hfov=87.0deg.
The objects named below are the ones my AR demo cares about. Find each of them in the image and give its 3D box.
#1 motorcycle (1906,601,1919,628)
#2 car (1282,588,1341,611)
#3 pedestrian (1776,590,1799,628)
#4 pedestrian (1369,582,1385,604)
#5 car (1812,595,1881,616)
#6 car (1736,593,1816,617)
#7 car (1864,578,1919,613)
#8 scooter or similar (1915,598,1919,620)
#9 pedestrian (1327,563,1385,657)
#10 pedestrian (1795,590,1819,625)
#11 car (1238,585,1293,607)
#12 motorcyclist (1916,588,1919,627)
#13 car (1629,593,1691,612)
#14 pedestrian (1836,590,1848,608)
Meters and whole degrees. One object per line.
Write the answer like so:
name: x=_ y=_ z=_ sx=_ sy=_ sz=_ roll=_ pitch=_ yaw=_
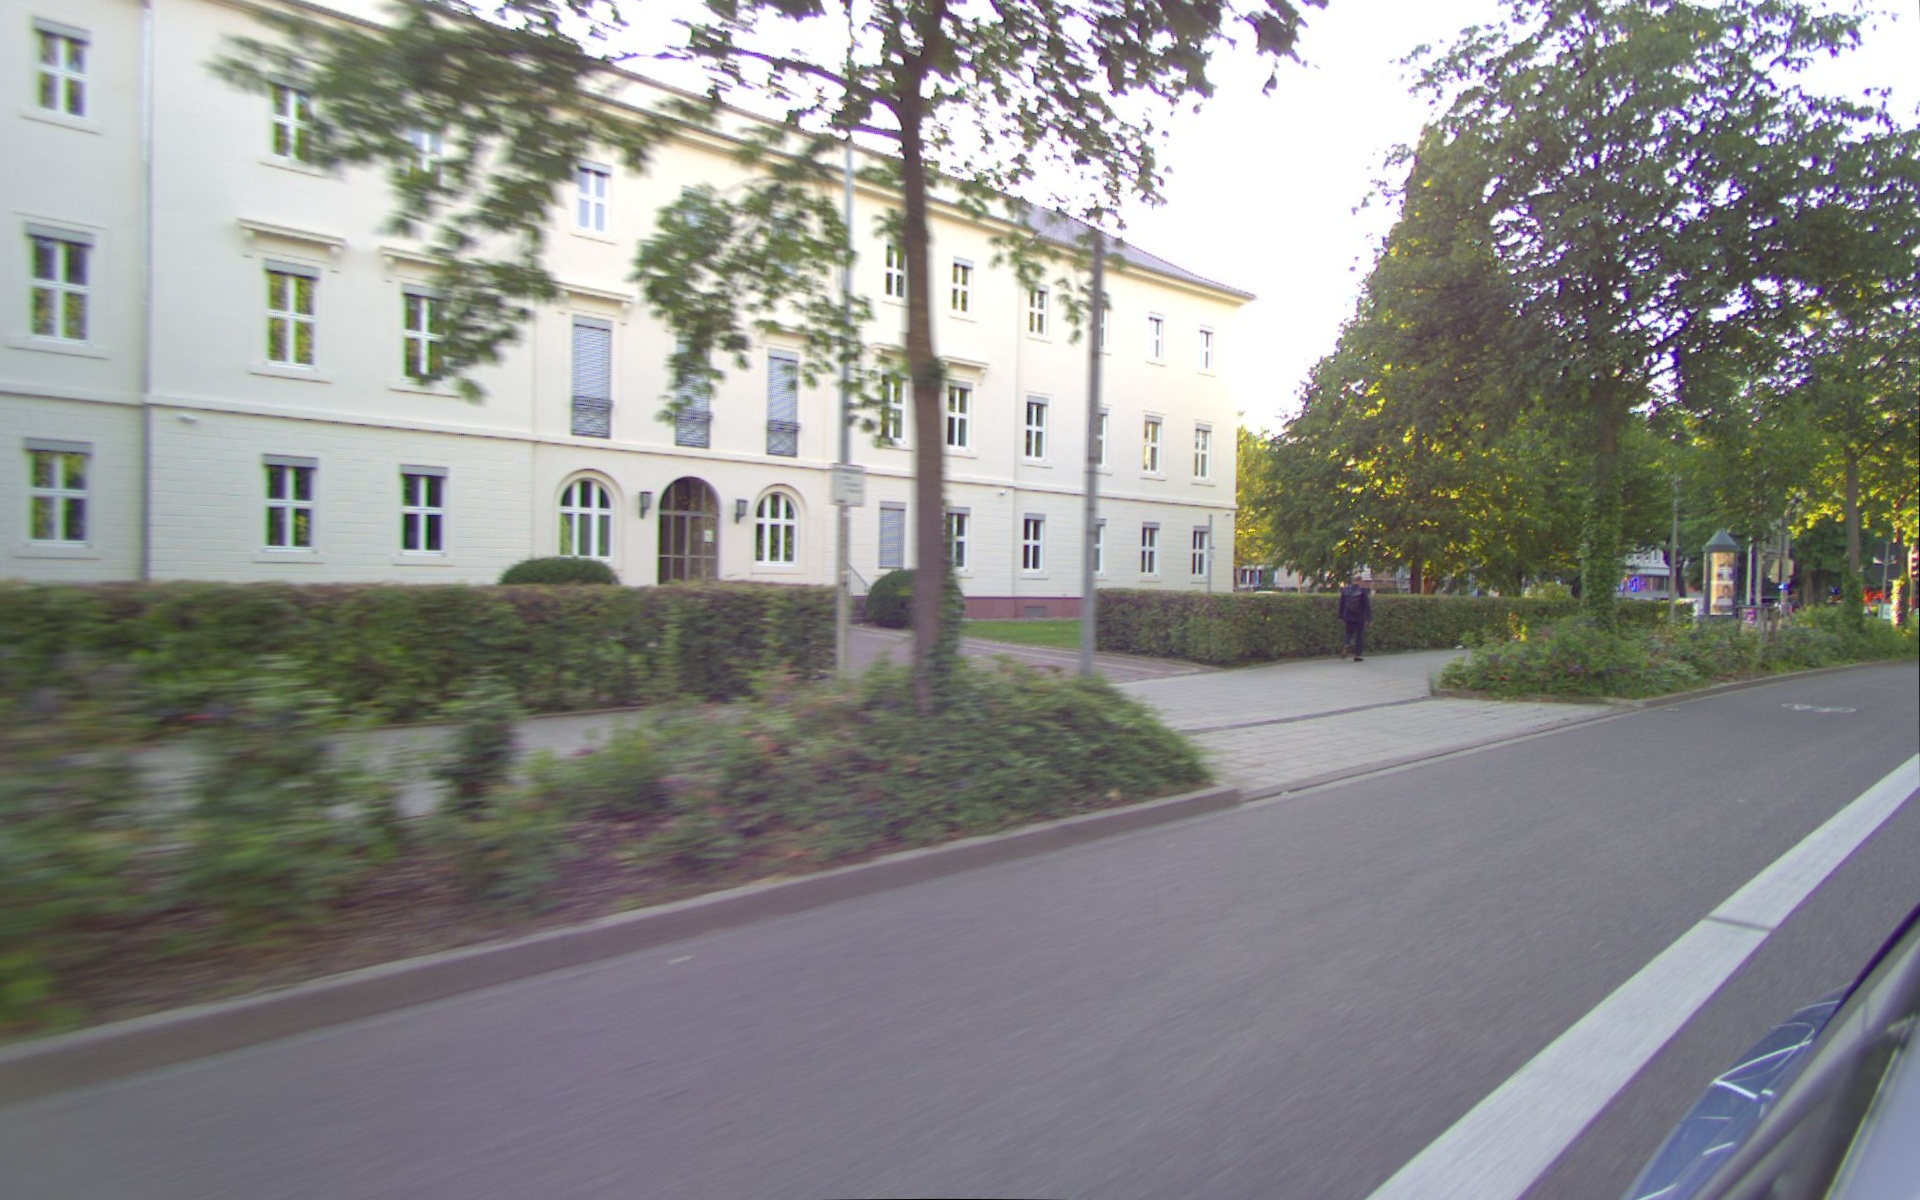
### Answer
motorcycle: x=44.534 y=0.668 z=46.424 sx=1.854 sy=1.213 sz=0.685 roll=1 pitch=0 yaw=-10
car: x=26.576 y=-0.027 z=76.535 sx=1.862 sy=1.660 sz=4.006 roll=0 pitch=1 yaw=-28
pedestrian: x=39.822 y=0.420 z=48.709 sx=0.675 sy=1.776 sz=0.683 roll=1 pitch=0 yaw=-35
pedestrian: x=34.233 y=-0.603 z=83.067 sx=0.690 sy=1.760 sz=0.898 roll=1 pitch=0 yaw=-27
car: x=68.656 y=0.422 z=78.408 sx=1.631 sy=1.477 sz=3.670 roll=0 pitch=1 yaw=-30
car: x=58.122 y=0.325 z=72.155 sx=1.880 sy=1.631 sz=4.006 roll=0 pitch=1 yaw=-28
car: x=91.885 y=-0.453 z=98.899 sx=8.129 sy=3.284 sz=2.777 roll=0 pitch=1 yaw=-29
scooter or similar: x=56.839 y=0.552 z=59.763 sx=1.157 sy=1.288 sz=0.442 roll=0 pitch=0 yaw=-36
pedestrian: x=7.636 y=0.180 z=19.496 sx=0.794 sy=1.760 sz=0.770 roll=0 pitch=0 yaw=-44
pedestrian: x=40.232 y=0.364 z=48.077 sx=0.829 sy=1.643 sz=0.683 roll=1 pitch=0 yaw=-35
car: x=24.279 y=-0.326 z=80.567 sx=1.960 sy=1.632 sz=4.005 roll=0 pitch=1 yaw=-29
motorcyclist: x=44.538 y=0.347 z=46.433 sx=0.676 sy=1.759 sz=0.742 roll=1 pitch=-1 yaw=-11
car: x=59.528 y=0.218 z=86.155 sx=1.878 sy=1.540 sz=3.924 roll=0 pitch=1 yaw=-26
pedestrian: x=89.622 y=-0.102 z=102.839 sx=0.830 sy=1.865 sz=0.683 roll=1 pitch=0 yaw=-35
